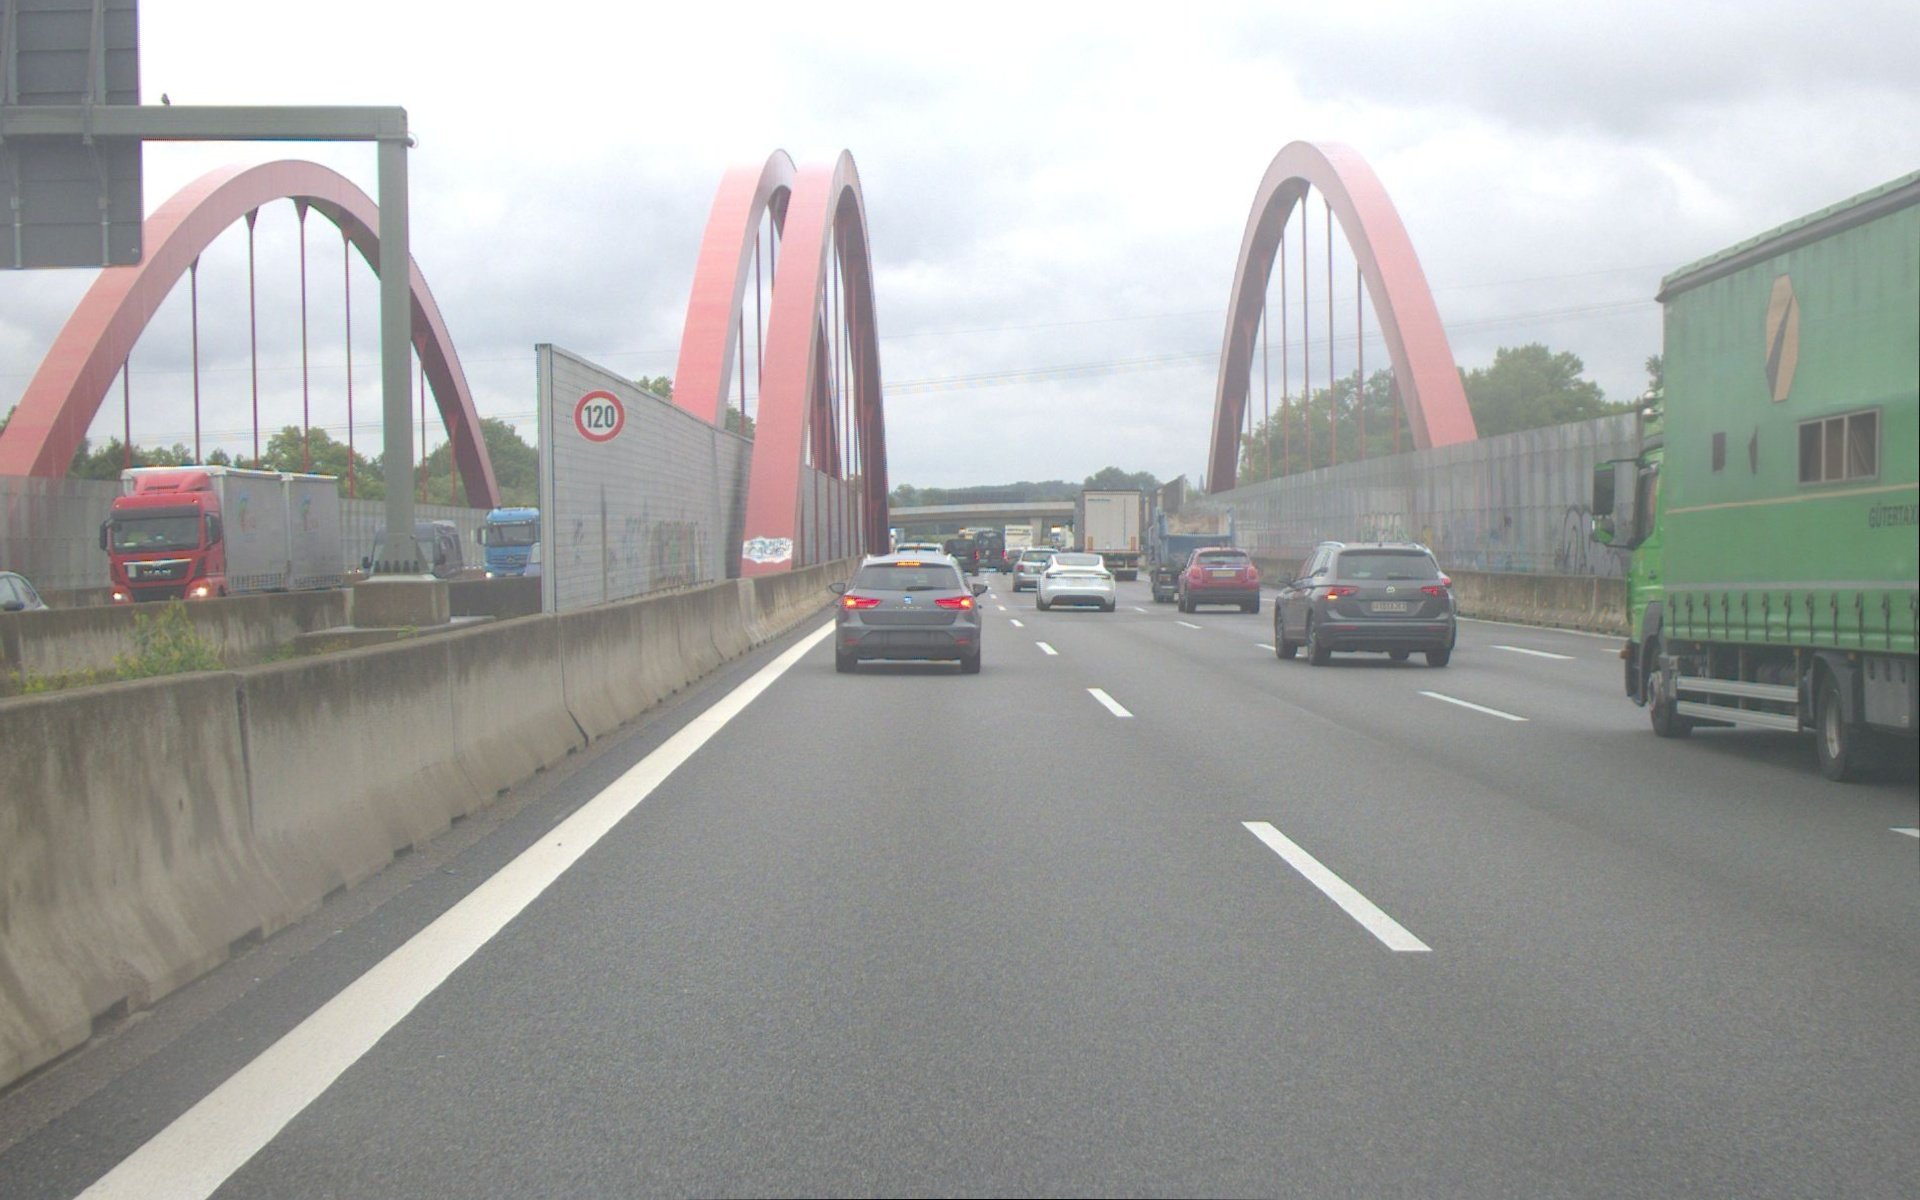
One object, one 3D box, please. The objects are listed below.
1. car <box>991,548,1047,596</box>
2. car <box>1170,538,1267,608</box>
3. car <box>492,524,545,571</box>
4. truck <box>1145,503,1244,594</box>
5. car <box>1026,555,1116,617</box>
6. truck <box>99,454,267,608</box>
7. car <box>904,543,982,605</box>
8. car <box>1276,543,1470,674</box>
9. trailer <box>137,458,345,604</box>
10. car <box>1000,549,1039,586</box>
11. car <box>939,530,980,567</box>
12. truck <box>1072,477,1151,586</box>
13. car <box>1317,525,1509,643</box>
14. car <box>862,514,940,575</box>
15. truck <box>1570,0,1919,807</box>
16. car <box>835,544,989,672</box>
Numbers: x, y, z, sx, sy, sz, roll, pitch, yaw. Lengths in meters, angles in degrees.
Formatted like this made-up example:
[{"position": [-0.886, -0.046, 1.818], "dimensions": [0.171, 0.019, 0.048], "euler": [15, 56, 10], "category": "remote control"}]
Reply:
[{"position": [1.926, -0.923, 113.065], "dimensions": [1.702, 1.538, 3.839], "euler": [0, 1, -1], "category": "car"}, {"position": [6.287, -0.666, 83.998], "dimensions": [1.957, 1.641, 4.000], "euler": [1, 1, -1], "category": "car"}, {"position": [-19.144, -2.298, 149.183], "dimensions": [1.993, 2.007, 4.193], "euler": [0, 1, -3], "category": "car"}, {"position": [6.658, -1.490, 98.169], "dimensions": [2.361, 2.498, 6.144], "euler": [0, 1, 0], "category": "truck"}, {"position": [2.709, -0.369, 84.872], "dimensions": [1.993, 1.481, 4.000], "euler": [0, 1, -1], "category": "car"}, {"position": [-19.566, -1.735, 86.853], "dimensions": [2.984, 3.740, 5.917], "euler": [0, 1, -1], "category": "truck"}, {"position": [-0.417, -0.618, 80.584], "dimensions": [1.781, 1.401, 3.626], "euler": [0, 1, -1], "category": "car"}, {"position": [5.438, 0.077, 45.767], "dimensions": [1.911, 1.664, 4.104], "euler": [0, 1, -2], "category": "car"}, {"position": [-19.674, -1.904, 95.116], "dimensions": [2.984, 3.716, 14.309], "euler": [0, 1, -1], "category": "trailer"}, {"position": [3.248, -1.805, 189.069], "dimensions": [1.993, 2.007, 4.000], "euler": [1, 1, 0], "category": "car"}, {"position": [-0.054, -2.573, 172.040], "dimensions": [1.993, 1.809, 4.000], "euler": [0, 1, 0], "category": "car"}, {"position": [6.747, -3.050, 153.887], "dimensions": [3.044, 4.718, 7.680], "euler": [1, 1, 0], "category": "truck"}, {"position": [6.638, -0.262, 50.933], "dimensions": [1.993, 1.613, 5.328], "euler": [1, 1, -1], "category": "car"}, {"position": [-1.592, -1.485, 91.357], "dimensions": [1.993, 1.579, 4.000], "euler": [-1, 1, -2], "category": "car"}, {"position": [7.457, -1.497, 24.738], "dimensions": [3.997, 5.248, 11.220], "euler": [1, 1, 0], "category": "truck"}, {"position": [-0.553, 0.060, 41.574], "dimensions": [1.764, 1.448, 4.000], "euler": [0, 1, 0], "category": "car"}]
